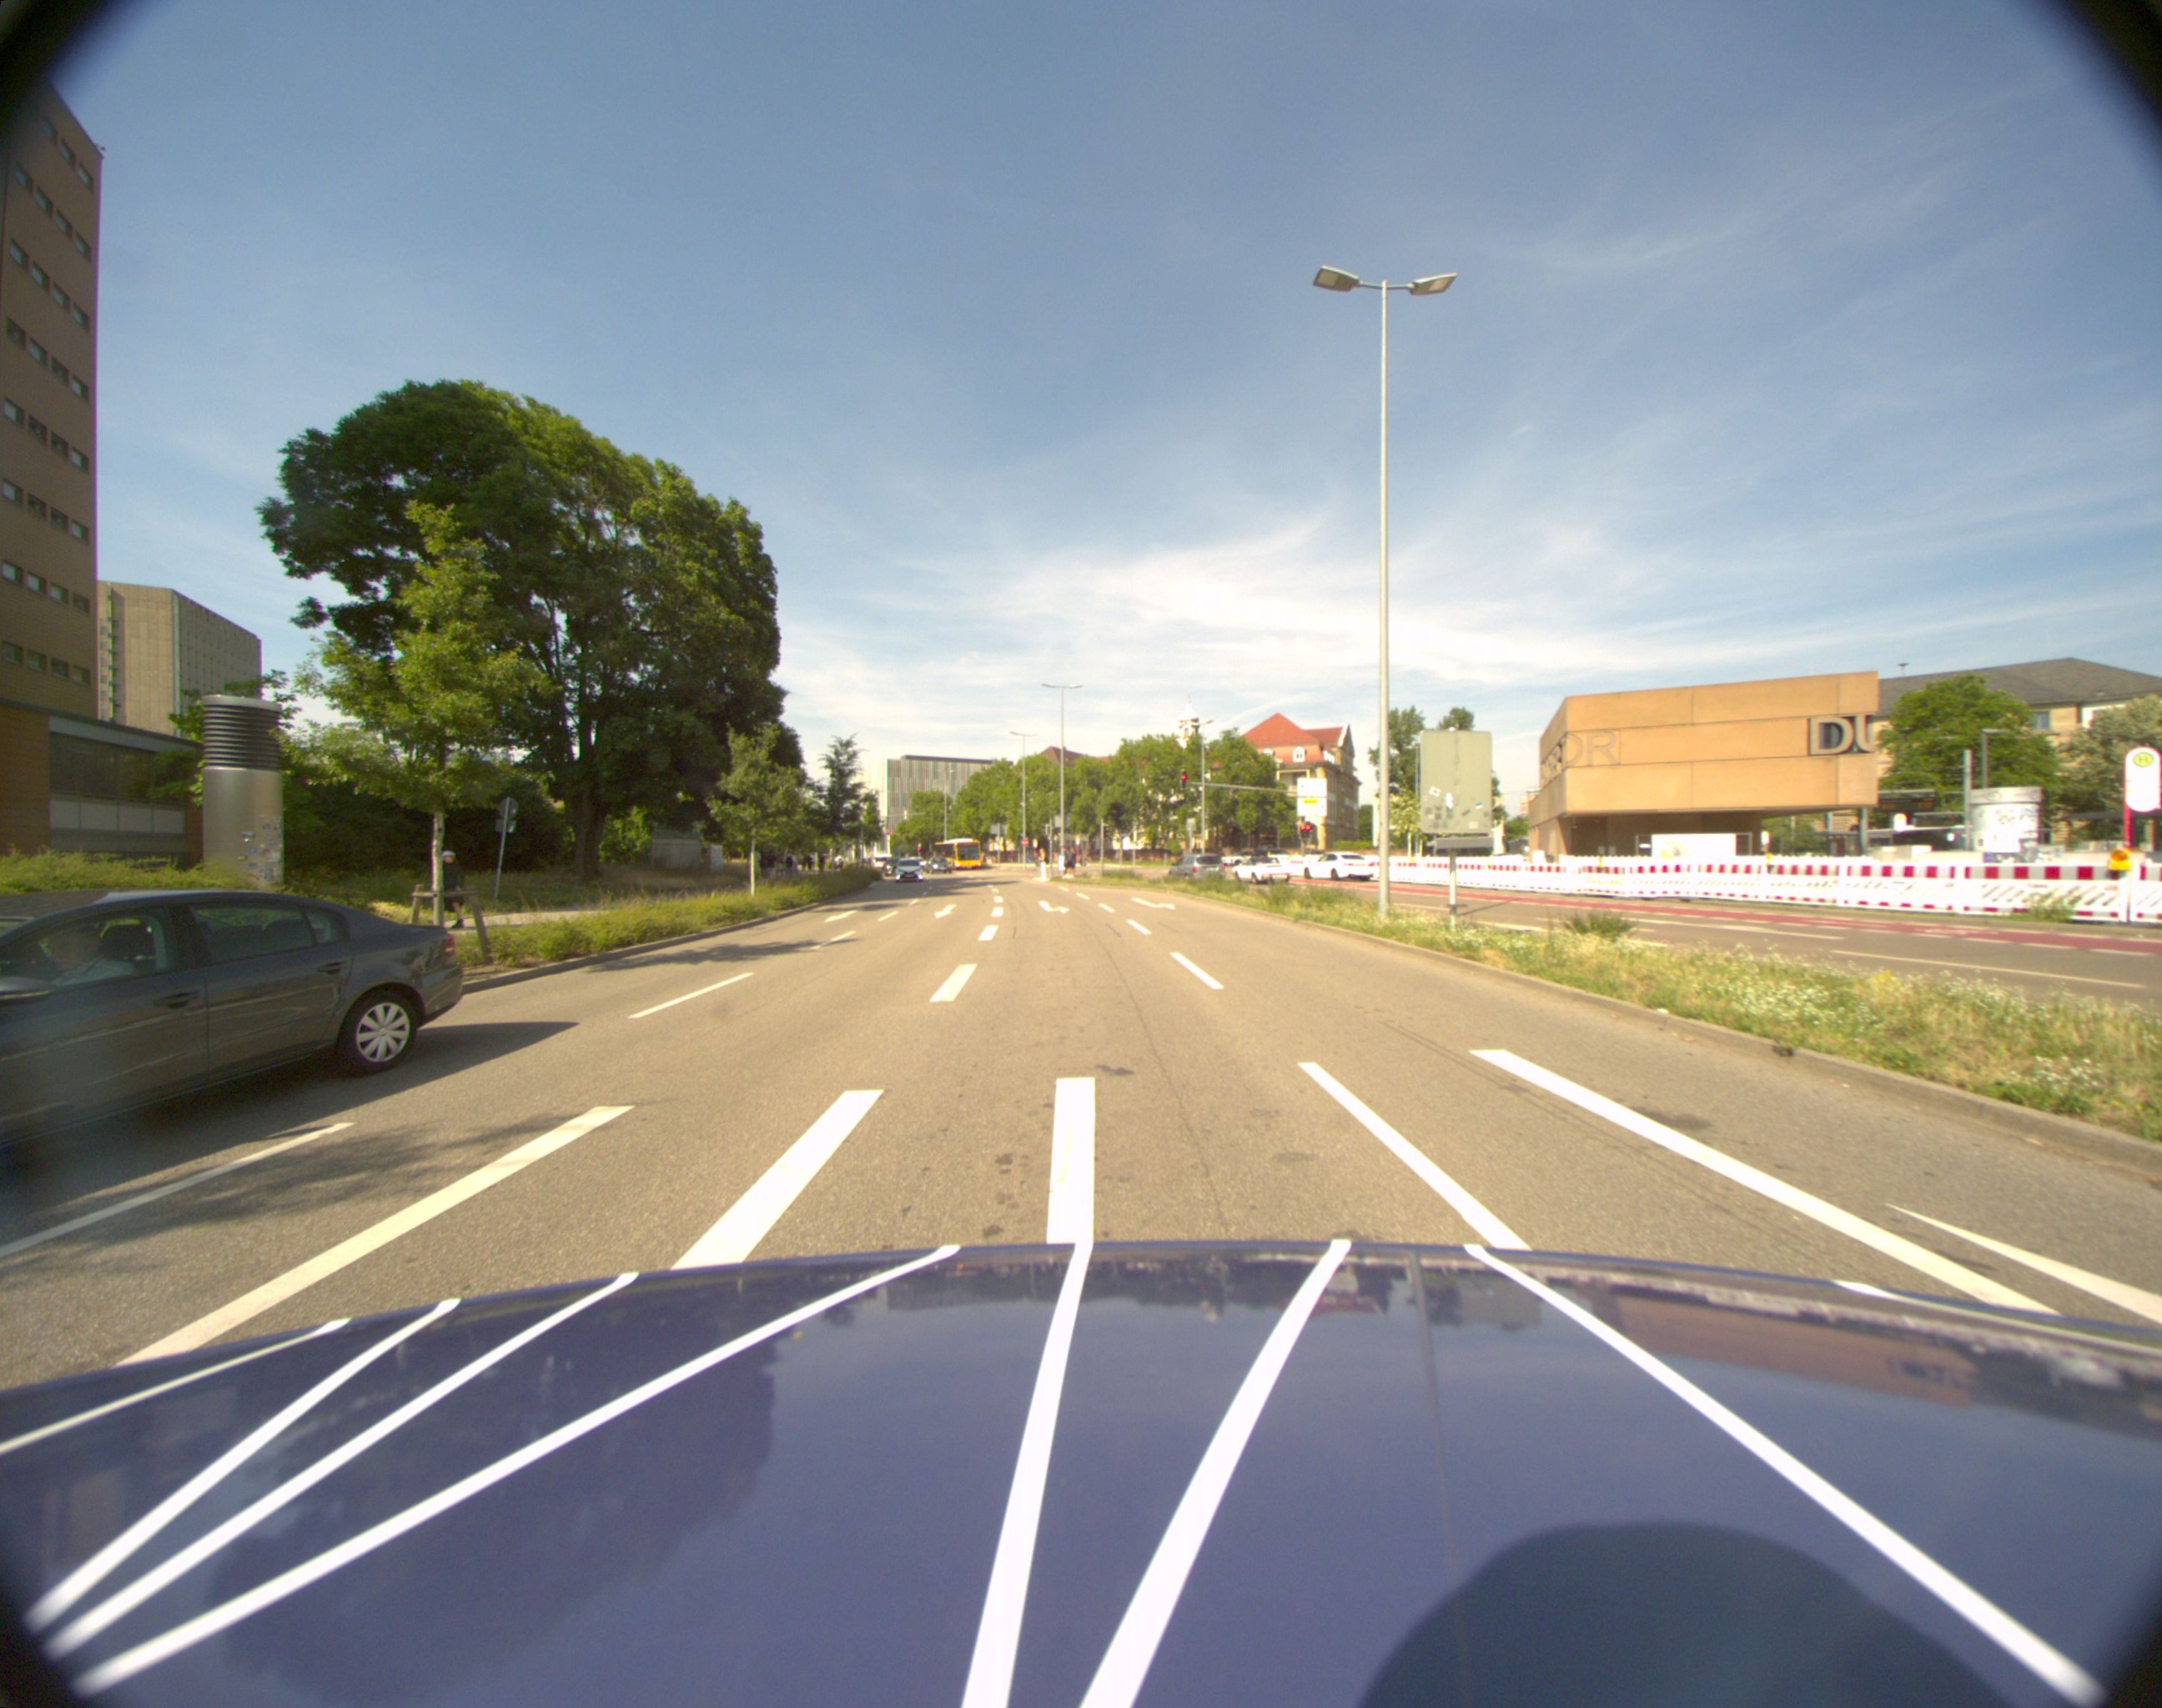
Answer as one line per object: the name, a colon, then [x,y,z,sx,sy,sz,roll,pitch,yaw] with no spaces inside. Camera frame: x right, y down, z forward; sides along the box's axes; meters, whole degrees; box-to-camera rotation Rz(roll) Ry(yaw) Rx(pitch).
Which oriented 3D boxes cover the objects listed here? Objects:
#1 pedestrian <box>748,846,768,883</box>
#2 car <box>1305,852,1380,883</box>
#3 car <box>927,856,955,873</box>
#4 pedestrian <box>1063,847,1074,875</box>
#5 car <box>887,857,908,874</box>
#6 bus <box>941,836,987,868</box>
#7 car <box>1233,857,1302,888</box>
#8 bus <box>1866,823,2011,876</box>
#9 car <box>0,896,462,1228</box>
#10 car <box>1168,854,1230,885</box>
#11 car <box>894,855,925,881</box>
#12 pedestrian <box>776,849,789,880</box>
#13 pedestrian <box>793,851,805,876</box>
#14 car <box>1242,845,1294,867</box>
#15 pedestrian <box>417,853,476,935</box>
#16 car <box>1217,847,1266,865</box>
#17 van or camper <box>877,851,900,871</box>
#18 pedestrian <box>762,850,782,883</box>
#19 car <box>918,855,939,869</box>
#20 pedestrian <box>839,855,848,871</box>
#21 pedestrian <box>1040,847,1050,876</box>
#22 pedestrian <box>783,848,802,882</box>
pedestrian: [-16.106,0.526,37.861,0.643,1.827,0.731,1,1,0]
car: [12.976,0.630,37.936,1.804,1.412,3.996,-2,1,-11]
car: [-12.254,0.897,66.378,1.653,1.416,4.113,-3,1,-20]
pedestrian: [-0.738,0.405,44.929,0.643,1.664,0.752,0,1,0]
car: [-14.738,0.880,60.803,1.411,1.287,3.575,0,0,-17]
bus: [-12.336,-0.202,79.105,2.799,3.020,12.129,0,0,-18]
car: [8.663,0.832,35.669,1.600,1.279,3.996,-2,1,-11]
bus: [59.357,-0.296,53.112,2.751,3.303,11.811,0,0,28]
car: [-6.084,1.114,4.181,1.635,1.427,4.527,-1,1,-1]
car: [5.526,0.681,36.026,1.600,1.279,3.996,-2,1,-11]
car: [-10.636,0.836,47.047,1.683,1.466,3.755,-2,1,-14]
pedestrian: [-17.345,0.598,44.178,0.644,1.754,0.474,1,1,-21]
pedestrian: [-16.538,0.574,44.506,0.644,1.438,0.568,1,1,-21]
car: [15.928,0.176,64.631,4.118,1.719,1.755,-3,1,-28]
pedestrian: [-13.154,0.810,15.768,0.592,1.654,0.731,1,1,0]
car: [14.768,0.161,69.747,4.118,1.435,1.756,-3,1,-25]
van or camper: [-19.021,0.676,74.980,1.732,1.877,4.914,-3,1,-19]
pedestrian: [-15.403,0.605,37.873,0.643,1.617,0.731,1,1,0]
car: [-15.121,0.773,75.439,1.492,1.286,3.480,-1,0,-20]
pedestrian: [-17.344,0.657,55.492,0.644,1.125,0.751,1,1,-15]
pedestrian: [-2.109,0.424,44.554,0.541,1.664,0.752,0,1,0]
pedestrian: [-14.644,0.548,38.574,0.643,1.664,0.752,1,1,0]
